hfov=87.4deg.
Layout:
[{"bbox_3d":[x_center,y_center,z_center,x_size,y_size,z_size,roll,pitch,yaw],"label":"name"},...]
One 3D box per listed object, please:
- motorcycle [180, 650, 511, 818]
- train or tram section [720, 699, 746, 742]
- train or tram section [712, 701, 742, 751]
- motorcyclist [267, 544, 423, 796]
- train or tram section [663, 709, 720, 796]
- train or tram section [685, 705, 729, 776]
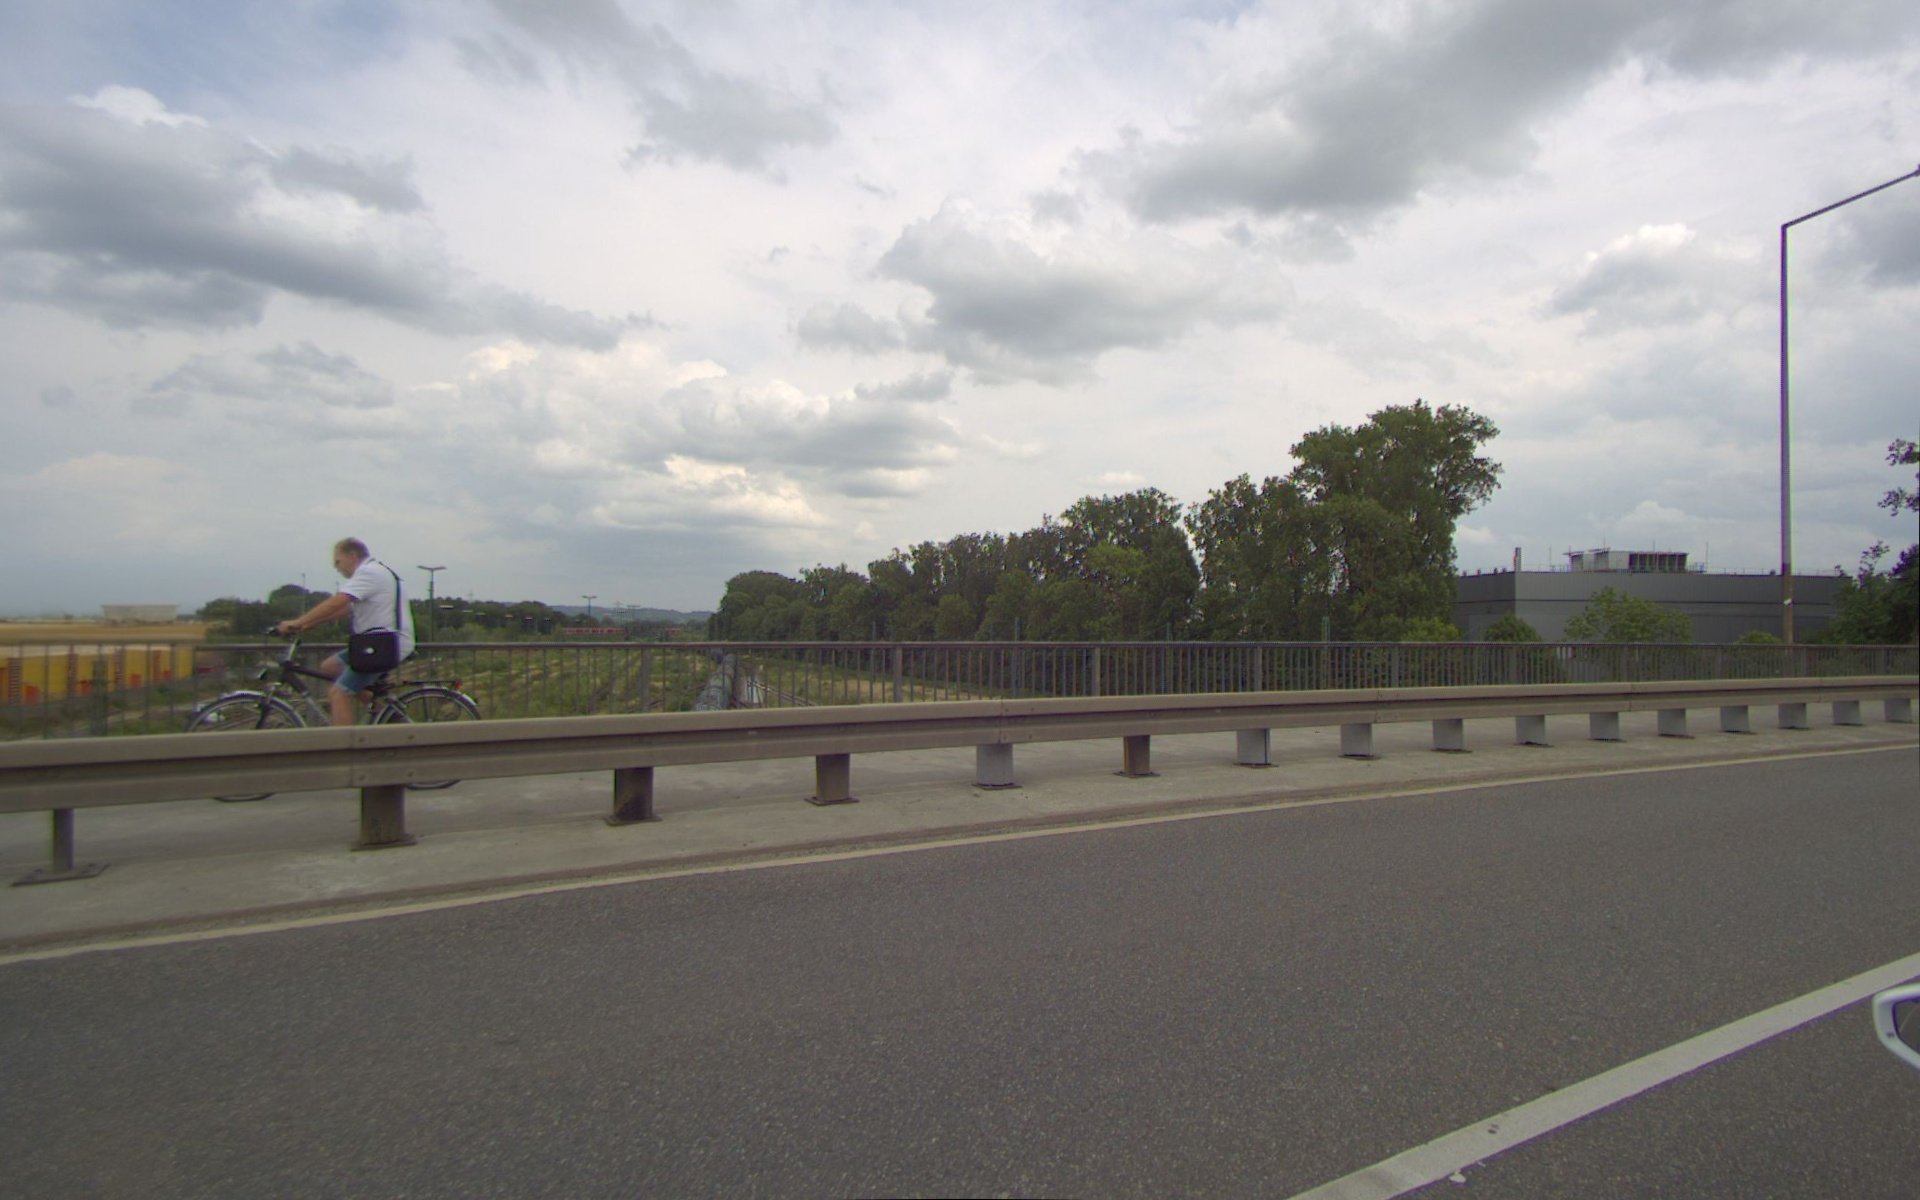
[{"bbox_3d":[-4.078,0.847,6.806,1.819,0.976,0.622,2,0,-31],"label":"motorcycle"},{"bbox_3d":[-24.144,12.753,107.381,2.045,4.147,12.746,2,-5,-10],"label":"train or tram section"},{"bbox_3d":[-21.885,11.733,94.876,2.045,4.147,12.746,2,-5,-10],"label":"train or tram section"},{"bbox_3d":[-4.109,0.434,6.741,0.815,1.550,0.805,2,0,-32],"label":"motorcyclist"},{"bbox_3d":[-15.130,8.420,57.296,1.964,4.147,12.747,2,-5,-10],"label":"train or tram section"},{"bbox_3d":[-17.404,9.554,69.768,1.964,4.147,12.746,2,-5,-10],"label":"train or tram section"}]
